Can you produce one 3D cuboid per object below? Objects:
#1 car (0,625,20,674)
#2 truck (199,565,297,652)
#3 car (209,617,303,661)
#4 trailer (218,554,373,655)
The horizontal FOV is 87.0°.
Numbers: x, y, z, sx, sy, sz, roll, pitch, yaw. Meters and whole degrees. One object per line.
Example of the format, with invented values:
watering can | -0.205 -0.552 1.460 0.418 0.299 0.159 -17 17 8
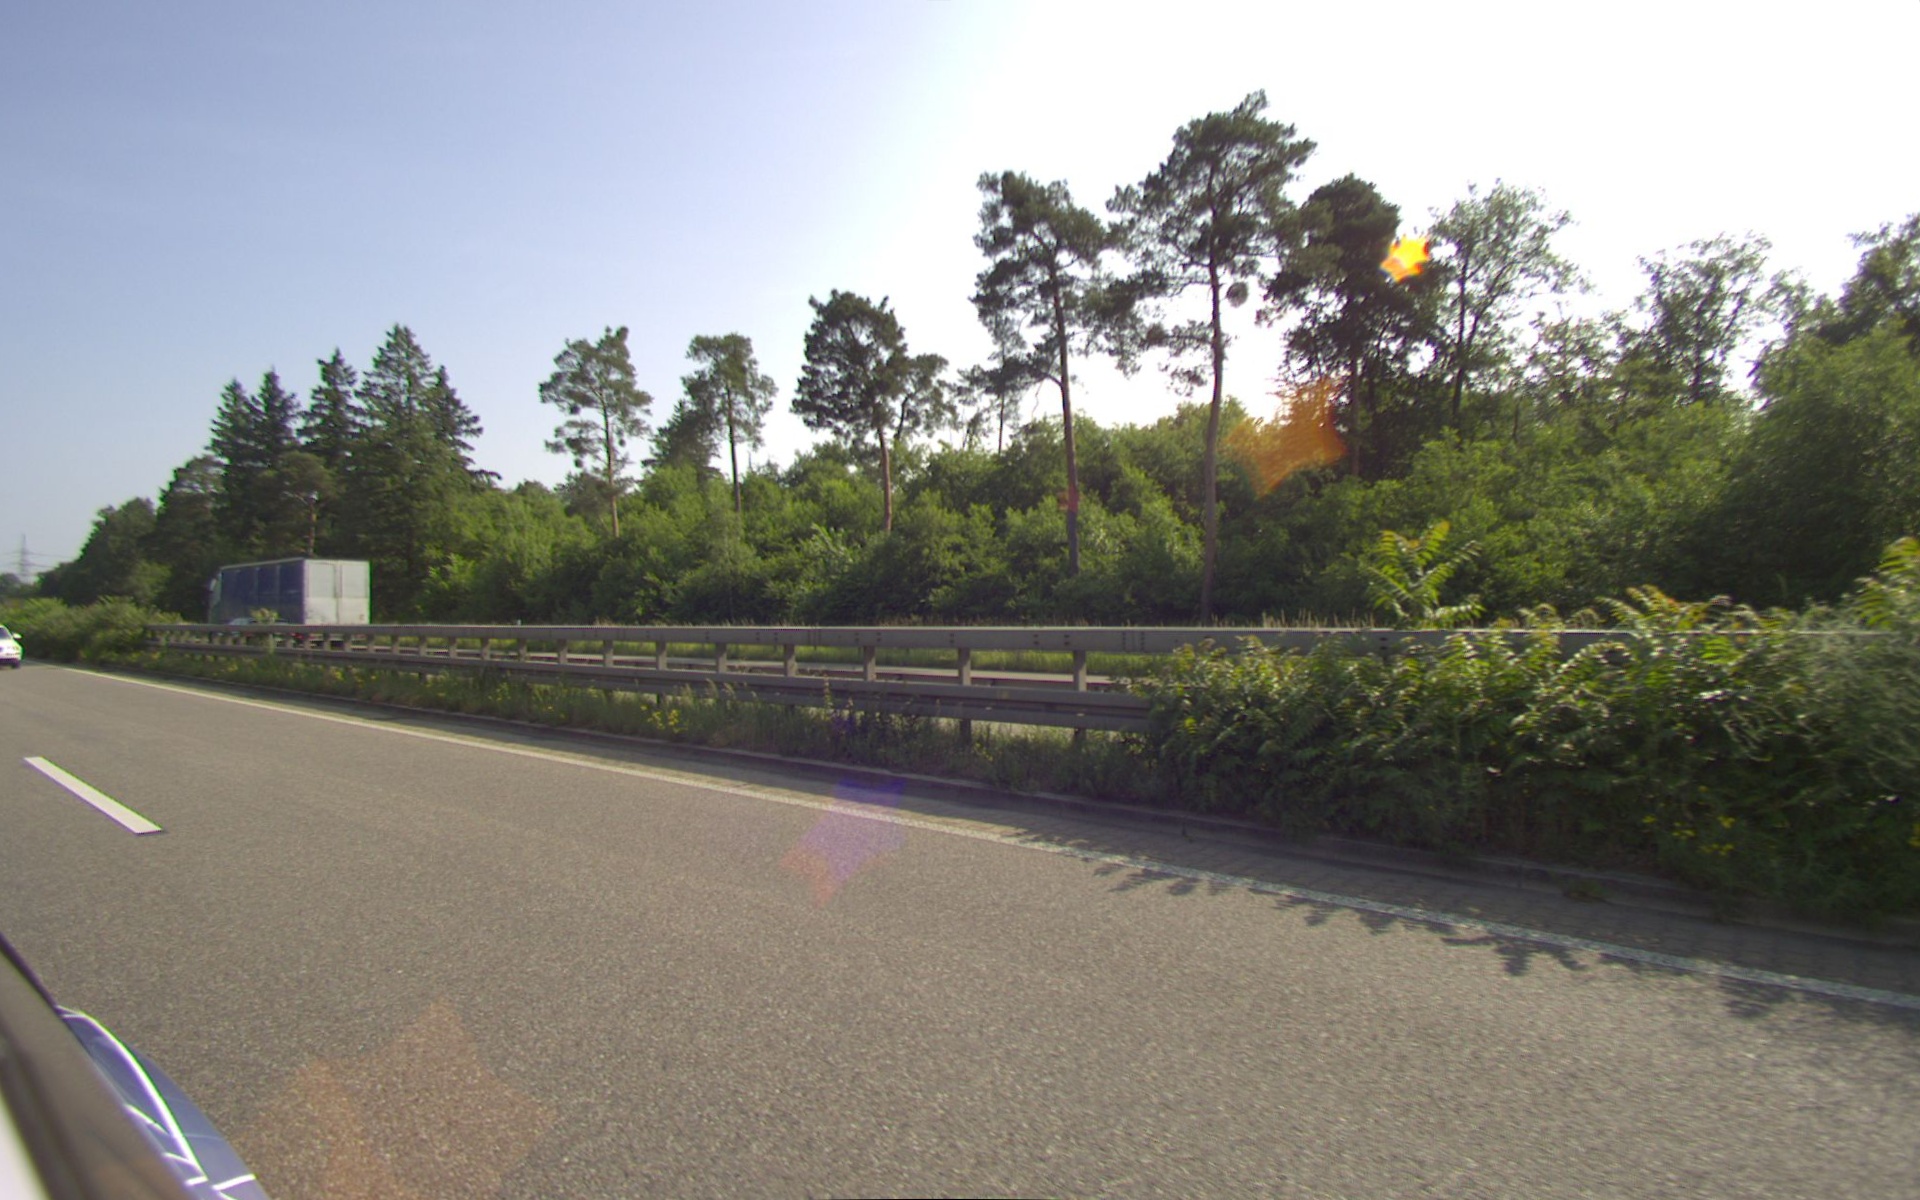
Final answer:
car | -31.647 1.560 32.513 5.263 1.497 1.731 -1 -1 43
truck | -36.915 0.505 52.378 6.290 4.232 2.681 -2 -2 41
car | -25.941 1.412 37.215 4.578 1.460 1.687 -2 0 40
trailer | -31.553 0.350 47.675 13.073 4.232 2.663 -2 -2 41
